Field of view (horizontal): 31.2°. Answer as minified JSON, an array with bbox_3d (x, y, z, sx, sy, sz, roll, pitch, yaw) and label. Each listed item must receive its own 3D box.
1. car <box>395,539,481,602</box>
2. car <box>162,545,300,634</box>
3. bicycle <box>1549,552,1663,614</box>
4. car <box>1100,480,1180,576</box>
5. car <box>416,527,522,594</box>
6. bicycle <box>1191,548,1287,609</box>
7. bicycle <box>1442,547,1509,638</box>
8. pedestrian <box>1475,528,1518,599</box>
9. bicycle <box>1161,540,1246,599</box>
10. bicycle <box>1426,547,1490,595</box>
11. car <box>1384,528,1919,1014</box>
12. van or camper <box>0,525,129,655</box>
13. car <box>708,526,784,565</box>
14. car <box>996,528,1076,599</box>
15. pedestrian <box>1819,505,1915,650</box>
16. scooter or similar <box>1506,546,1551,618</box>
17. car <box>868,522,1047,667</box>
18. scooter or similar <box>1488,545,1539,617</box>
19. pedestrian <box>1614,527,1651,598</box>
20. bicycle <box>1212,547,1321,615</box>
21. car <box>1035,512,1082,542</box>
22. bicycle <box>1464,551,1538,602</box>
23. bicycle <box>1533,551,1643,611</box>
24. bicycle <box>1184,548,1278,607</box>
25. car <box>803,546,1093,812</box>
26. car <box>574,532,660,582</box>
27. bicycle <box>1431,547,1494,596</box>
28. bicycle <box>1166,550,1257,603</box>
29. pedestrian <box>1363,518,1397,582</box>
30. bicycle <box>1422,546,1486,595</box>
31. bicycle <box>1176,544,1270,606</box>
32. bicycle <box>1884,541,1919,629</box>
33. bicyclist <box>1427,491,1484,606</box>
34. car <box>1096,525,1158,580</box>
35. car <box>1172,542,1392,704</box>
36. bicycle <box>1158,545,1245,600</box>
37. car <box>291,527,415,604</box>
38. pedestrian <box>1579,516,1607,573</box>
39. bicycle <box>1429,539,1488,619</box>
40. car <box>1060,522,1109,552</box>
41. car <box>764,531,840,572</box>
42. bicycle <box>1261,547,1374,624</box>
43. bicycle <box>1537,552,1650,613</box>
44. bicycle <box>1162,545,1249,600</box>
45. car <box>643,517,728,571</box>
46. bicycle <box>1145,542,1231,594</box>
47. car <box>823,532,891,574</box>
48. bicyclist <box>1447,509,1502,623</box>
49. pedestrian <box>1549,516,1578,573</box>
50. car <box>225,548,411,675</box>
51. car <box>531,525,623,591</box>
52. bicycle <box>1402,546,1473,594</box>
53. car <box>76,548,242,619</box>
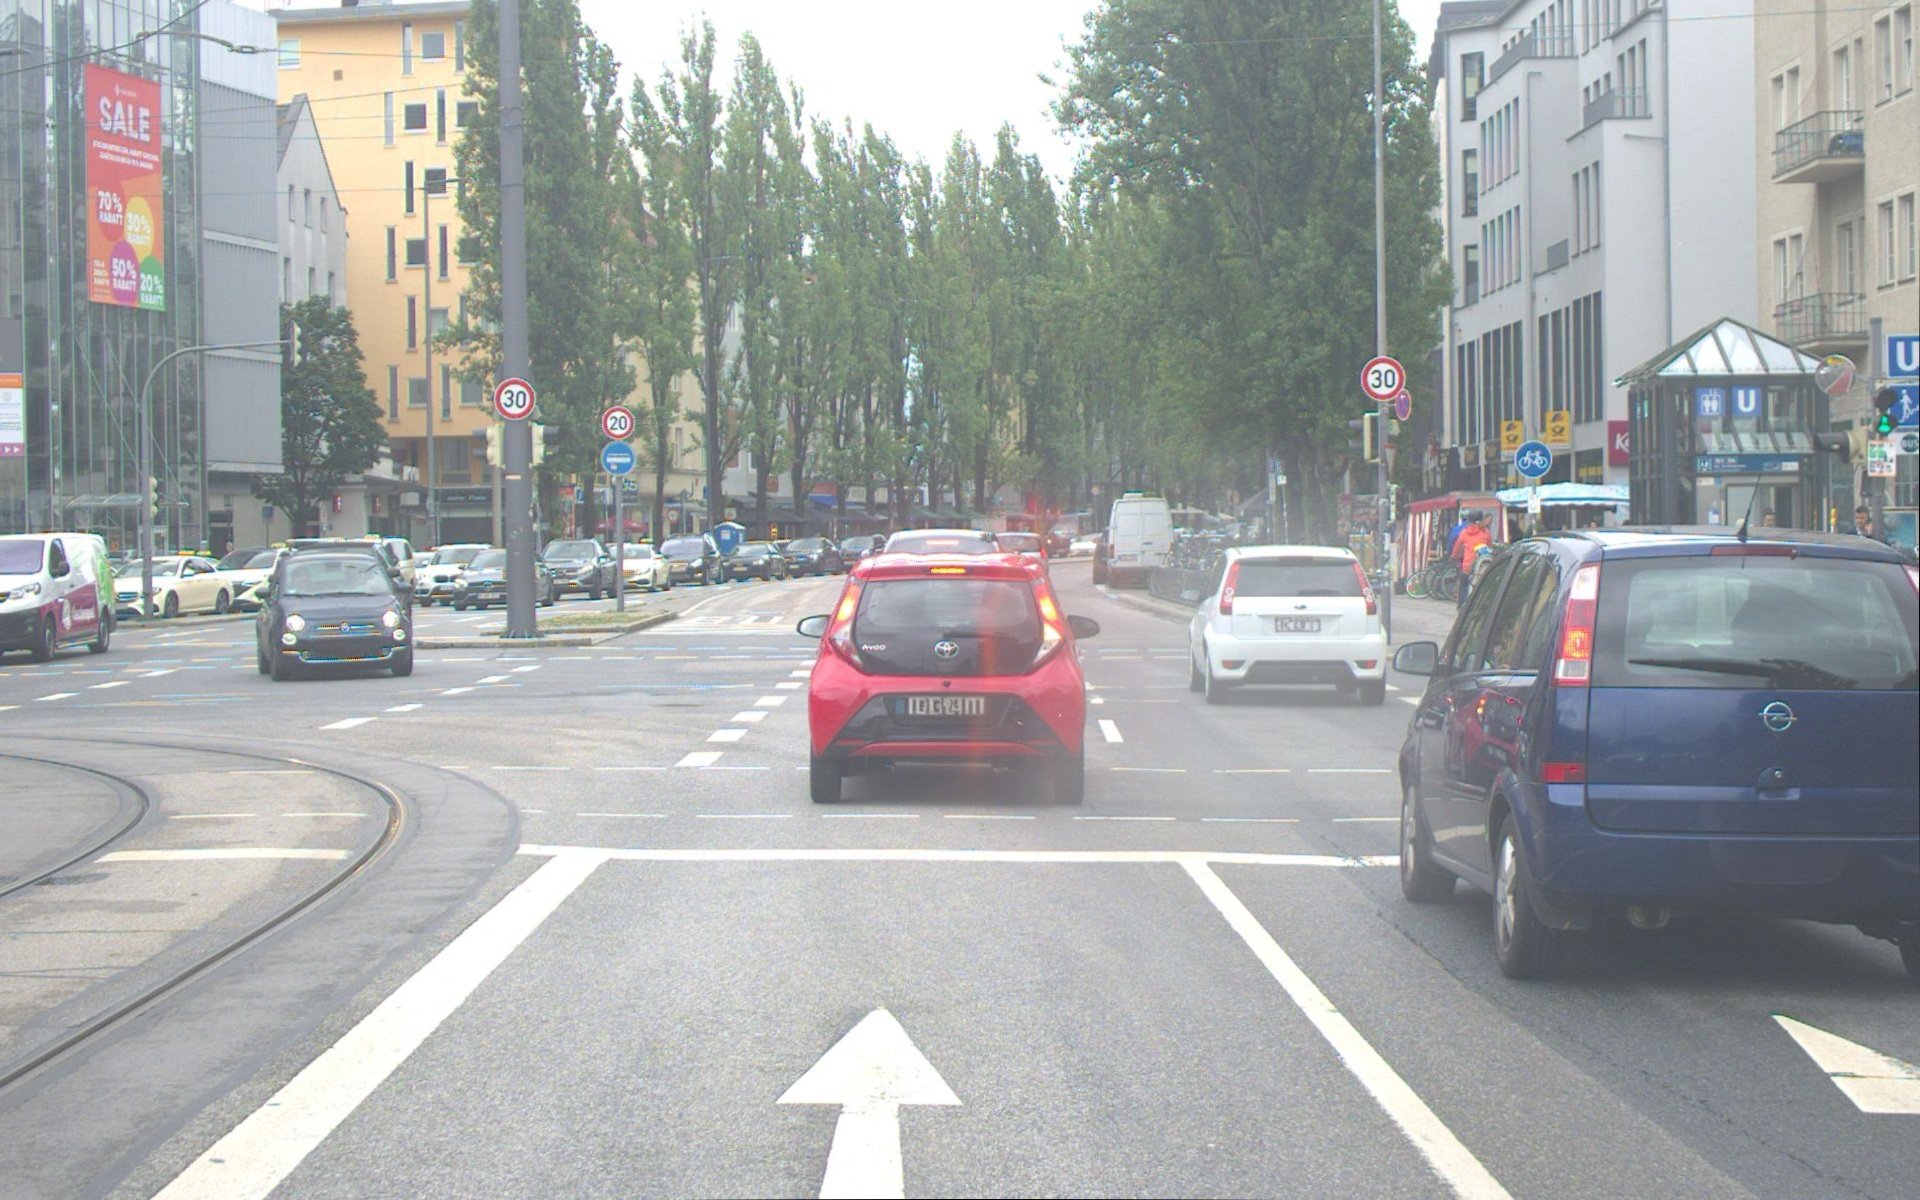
[{"bbox_3d":[-13.654,-0.793,90.069,1.698,1.590,4.000,-1,1,-1],"label":"car"},{"bbox_3d":[-12.935,-0.220,61.208,1.664,1.503,4.282,-1,1,-2],"label":"car"},{"bbox_3d":[10.461,-0.280,55.688,1.754,0.961,0.453,-1,1,-2],"label":"bicycle"},{"bbox_3d":[5.201,-2.095,99.931,2.107,2.709,4.804,-1,1,1],"label":"car"},{"bbox_3d":[-11.437,-0.947,80.282,1.993,1.407,4.168,3,1,-2],"label":"car"},{"bbox_3d":[5.188,-0.399,63.984,1.803,1.107,0.561,0,2,42],"label":"bicycle"},{"bbox_3d":[7.562,-0.128,50.530,0.614,1.260,2.520,-1,1,0],"label":"bicycle"},{"bbox_3d":[11.613,-0.801,74.462,0.808,1.517,0.800,-1,1,1],"label":"pedestrian"},{"bbox_3d":[5.170,-0.650,73.088,1.836,1.237,0.585,0,2,43],"label":"bicycle"},{"bbox_3d":[10.118,-0.588,69.866,1.261,0.960,0.369,-1,1,10],"label":"bicycle"},{"bbox_3d":[2.693,0.528,13.086,1.703,1.584,3.556,0,1,0],"label":"car"},{"bbox_3d":[-13.960,-0.182,51.239,1.928,1.819,5.441,-1,1,-2],"label":"van or camper"},{"bbox_3d":[-7.773,-1.958,125.196,1.845,1.378,4.599,0,0,8],"label":"car"},{"bbox_3d":[2.034,-0.988,92.732,1.993,1.831,4.000,-1,1,0],"label":"car"},{"bbox_3d":[10.724,-0.275,40.654,0.836,1.685,0.818,0,1,37],"label":"pedestrian"},{"bbox_3d":[9.441,-0.306,57.068,0.301,1.172,1.275,0,1,30],"label":"scooter or similar"},{"bbox_3d":[-0.057,-0.099,40.708,1.993,1.612,4.000,-1,1,-1],"label":"car"},{"bbox_3d":[9.251,-0.317,57.430,0.364,1.172,1.345,0,1,30],"label":"scooter or similar"},{"bbox_3d":[14.269,-0.800,72.939,0.580,1.500,0.615,0,1,31],"label":"pedestrian"},{"bbox_3d":[5.325,-0.336,59.846,1.803,1.154,0.651,0,2,36],"label":"bicycle"},{"bbox_3d":[5.881,-4.336,204.156,1.994,1.686,4.411,-1,1,12],"label":"car"},{"bbox_3d":[10.019,-0.434,63.678,1.292,0.912,0.369,-1,1,1],"label":"bicycle"},{"bbox_3d":[10.398,-0.313,56.940,1.754,0.961,0.369,-1,1,1],"label":"bicycle"},{"bbox_3d":[5.151,-0.429,65.411,1.803,1.107,0.585,0,2,43],"label":"bicycle"},{"bbox_3d":[-0.051,0.420,20.979,1.605,1.456,3.130,1,1,1],"label":"car"},{"bbox_3d":[-10.117,-1.288,101.799,1.765,1.417,4.639,0,1,4],"label":"car"},{"bbox_3d":[10.090,-0.582,69.061,1.224,0.960,0.369,-2,1,-22],"label":"bicycle"},{"bbox_3d":[5.035,-0.480,68.930,1.836,1.048,0.585,0,2,43],"label":"bicycle"},{"bbox_3d":[11.303,-1.346,92.476,0.790,1.722,0.764,-1,1,0],"label":"pedestrian"},{"bbox_3d":[10.110,-0.603,70.349,1.261,0.960,0.369,-1,1,3],"label":"bicycle"},{"bbox_3d":[5.107,-0.488,66.739,1.836,1.164,0.585,0,2,43],"label":"bicycle"},{"bbox_3d":[12.527,-0.200,44.600,0.566,1.104,1.866,-1,1,0],"label":"bicycle"},{"bbox_3d":[8.202,-0.861,56.927,0.762,1.863,1.133,-1,1,0],"label":"bicyclist"},{"bbox_3d":[5.140,-1.480,106.076,1.703,1.657,3.556,0,1,0],"label":"car"},{"bbox_3d":[2.995,0.176,32.554,1.699,1.421,3.497,-1,1,-1],"label":"car"},{"bbox_3d":[5.082,-0.586,72.422,1.836,1.132,0.585,0,2,43],"label":"bicycle"},{"bbox_3d":[-16.266,-0.895,92.390,1.994,2.007,5.522,0,0,4],"label":"car"},{"bbox_3d":[15.675,-1.368,85.168,0.574,1.397,0.580,-1,1,0],"label":"pedestrian"},{"bbox_3d":[8.226,-0.356,56.801,0.614,1.260,2.520,-1,1,0],"label":"bicycle"},{"bbox_3d":[7.173,-3.628,197.519,1.994,1.686,4.411,-1,1,12],"label":"car"},{"bbox_3d":[-6.122,-1.906,133.882,1.994,1.529,4.586,-1,1,10],"label":"car"},{"bbox_3d":[5.635,-0.237,54.267,1.803,1.194,0.558,0,2,43],"label":"bicycle"},{"bbox_3d":[10.365,-0.293,56.248,1.754,0.961,0.453,-1,1,1],"label":"bicycle"},{"bbox_3d":[5.104,-0.577,71.661,1.836,1.132,0.585,0,2,43],"label":"bicycle"},{"bbox_3d":[-8.986,-1.845,112.831,1.937,1.733,4.587,0,1,6],"label":"car"},{"bbox_3d":[4.998,-0.701,75.348,1.836,1.132,0.585,0,2,36],"label":"bicycle"},{"bbox_3d":[-4.296,-1.959,143.553,1.994,1.686,4.919,0,0,8],"label":"car"},{"bbox_3d":[7.560,-0.508,50.557,0.614,1.652,1.251,-1,1,0],"label":"bicyclist"},{"bbox_3d":[14.962,-1.380,85.194,0.598,1.397,0.580,-1,1,0],"label":"pedestrian"},{"bbox_3d":[-7.730,0.104,41.193,1.545,1.440,3.540,0,1,-22],"label":"car"},{"bbox_3d":[-10.206,-1.141,91.805,1.743,1.664,4.732,-1,1,2],"label":"car"},{"bbox_3d":[9.980,-0.629,71.839,1.432,0.960,0.369,-1,1,6],"label":"bicycle"},{"bbox_3d":[-17.812,-0.392,76.632,1.994,1.503,4.633,-1,1,9],"label":"car"}]
